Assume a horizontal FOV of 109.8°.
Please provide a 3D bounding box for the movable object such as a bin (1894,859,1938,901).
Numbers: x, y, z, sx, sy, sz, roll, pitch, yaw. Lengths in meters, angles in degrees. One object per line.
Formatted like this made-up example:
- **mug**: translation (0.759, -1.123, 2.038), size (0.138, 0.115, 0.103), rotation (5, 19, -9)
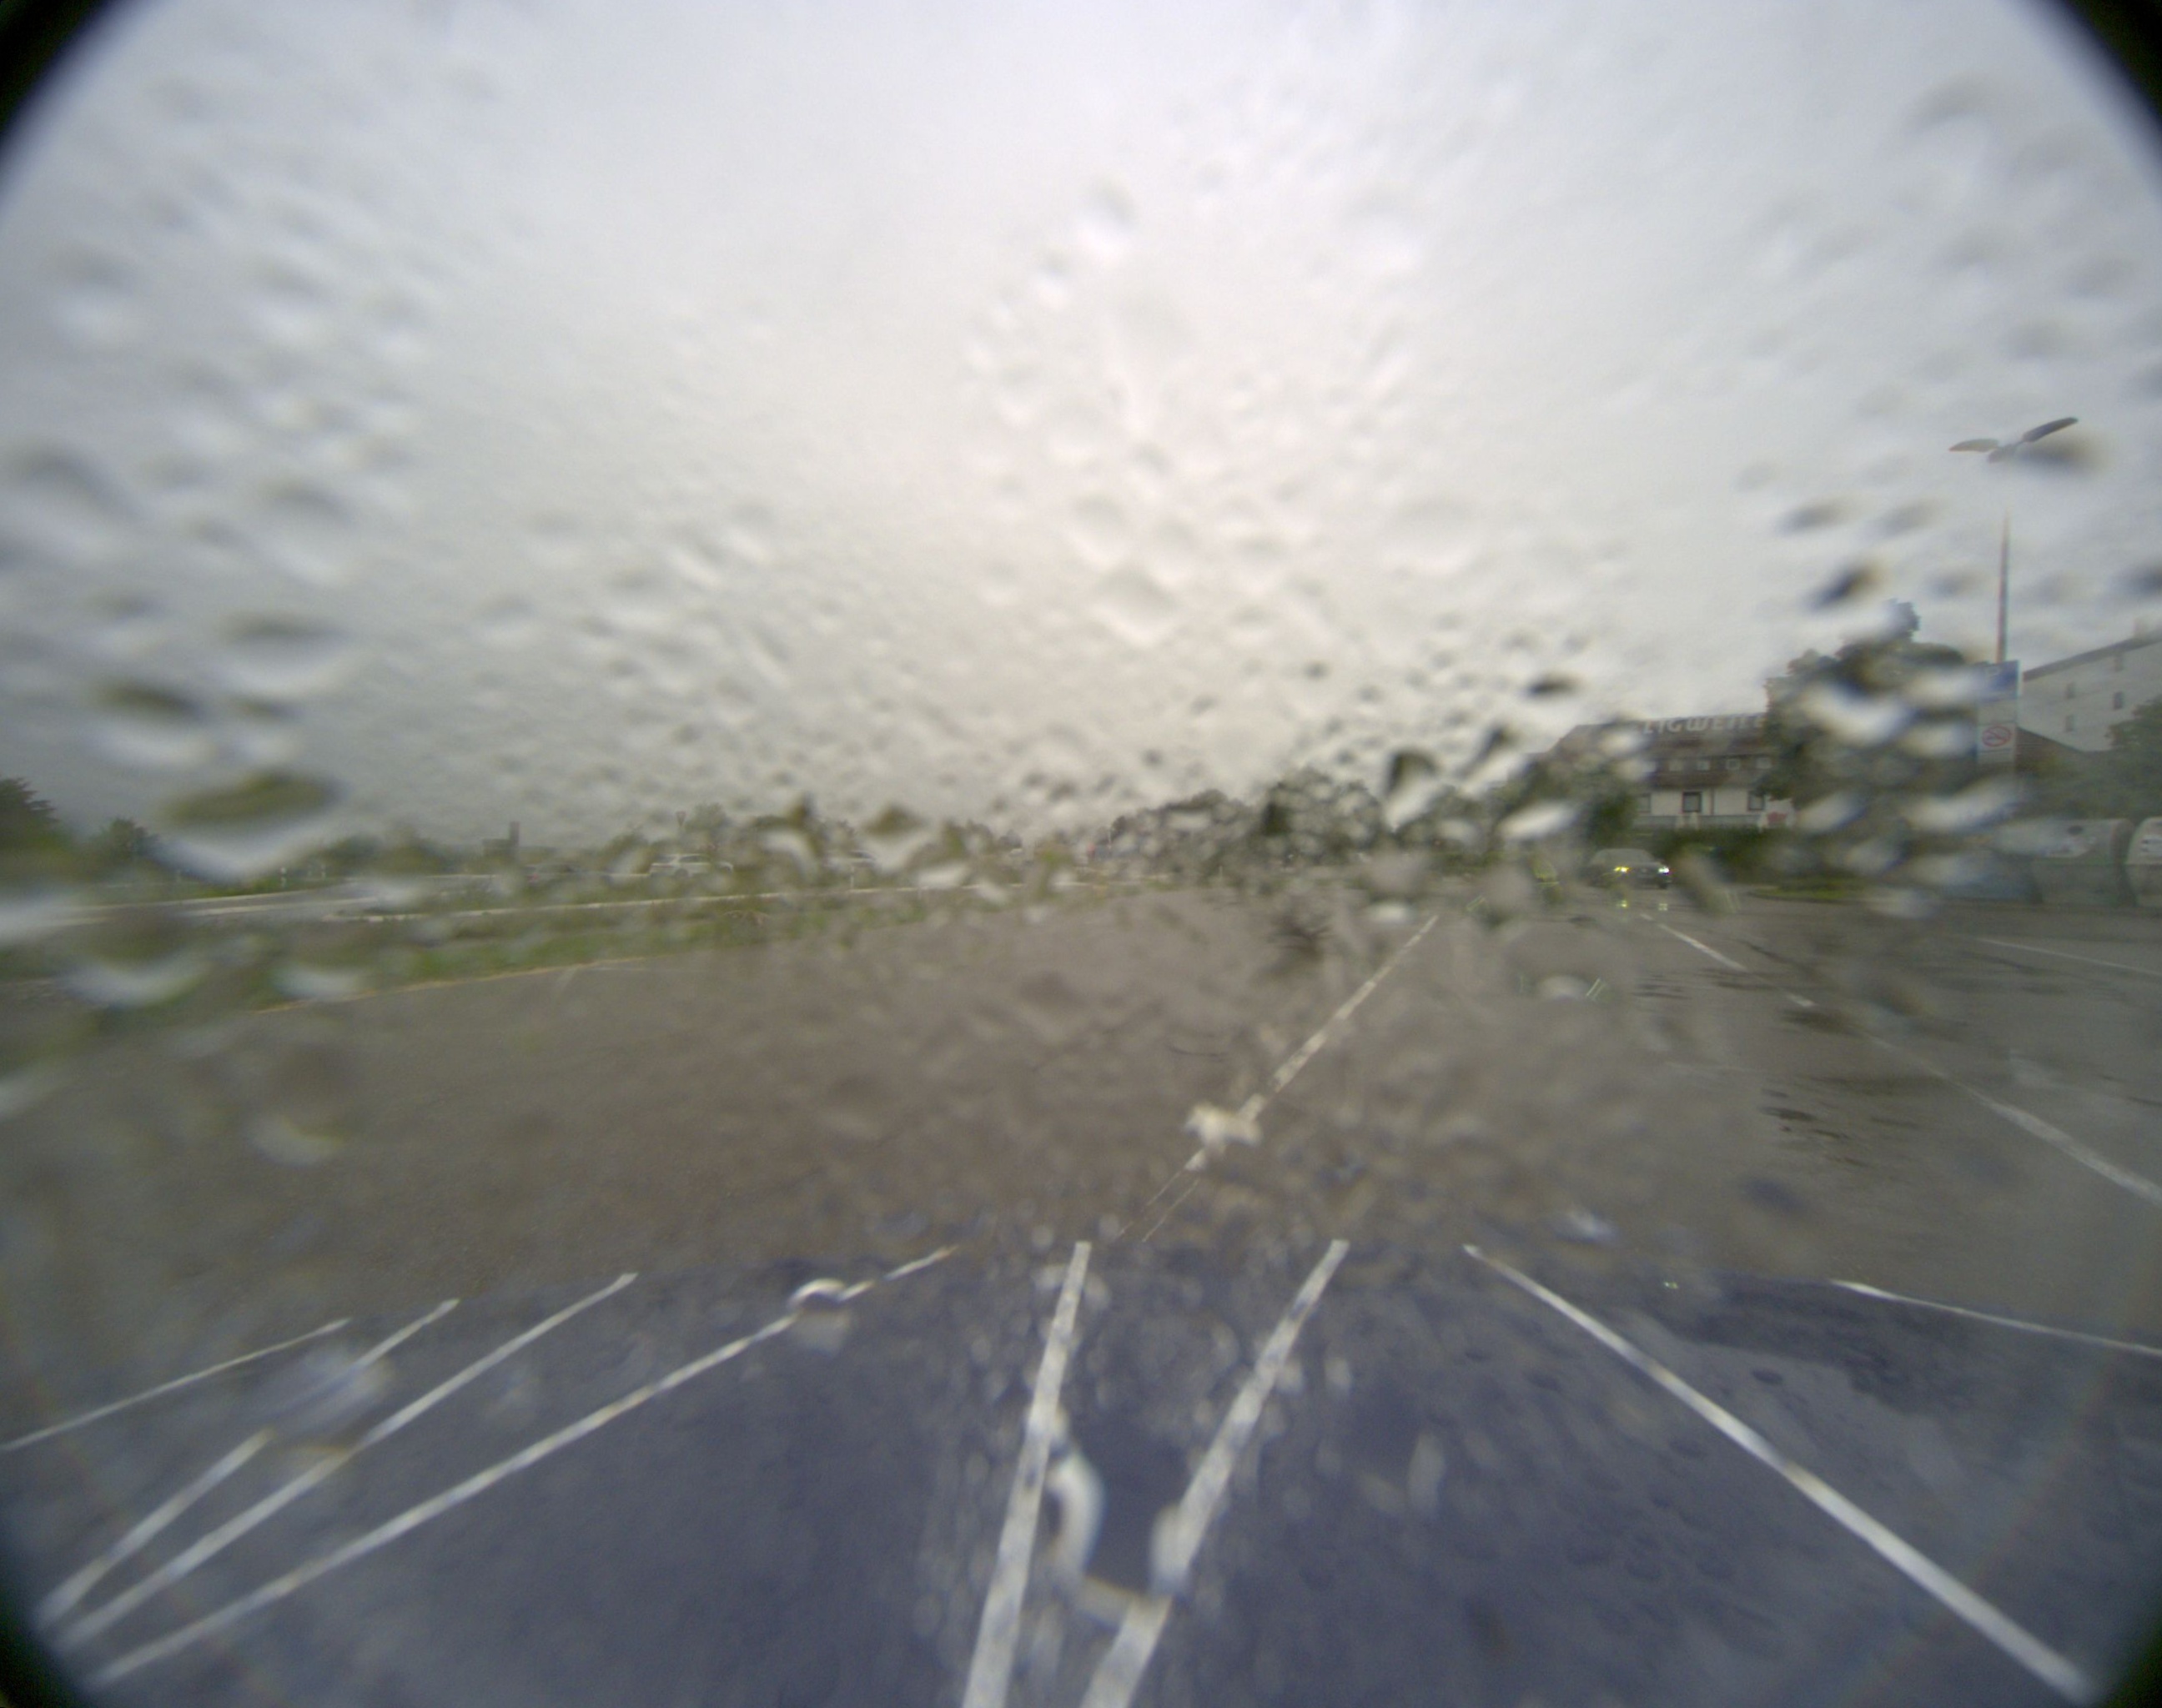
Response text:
- **movable object such as a bin**: translation (18.865, 0.583, 17.177), size (0.449, 0.912, 0.489), rotation (-1, 1, 6)

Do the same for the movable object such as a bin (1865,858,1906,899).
- **movable object such as a bin**: translation (18.767, 0.567, 17.723), size (0.449, 0.933, 0.489), rotation (-1, 1, 6)

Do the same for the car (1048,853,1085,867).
- **car**: translation (-1.767, 0.739, 95.830), size (4.374, 1.748, 1.744), rotation (-1, 0, -34)

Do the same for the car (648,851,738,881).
- **car**: translation (-22.119, 0.675, 43.495), size (1.689, 1.575, 4.394), rotation (-1, 1, 28)

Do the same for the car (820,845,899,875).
- **car**: translation (-14.775, 0.366, 50.755), size (4.652, 1.862, 1.995), rotation (-1, 1, -32)

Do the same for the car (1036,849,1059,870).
- **car**: translation (-3.040, 0.500, 70.117), size (1.713, 1.805, 3.716), rotation (-1, 0, 3)

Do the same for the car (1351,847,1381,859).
- **car**: translation (36.724, -0.167, 98.110), size (1.587, 1.449, 3.673), rotation (-1, 1, -21)

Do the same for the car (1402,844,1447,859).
- **car**: translation (35.094, -0.275, 77.698), size (4.179, 1.489, 1.721), rotation (-1, 0, 25)

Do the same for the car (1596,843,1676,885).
- **car**: translation (20.175, 0.311, 27.767), size (1.775, 1.425, 4.085), rotation (-1, 1, 28)

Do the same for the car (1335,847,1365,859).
- **car**: translation (33.793, -0.081, 95.543), size (1.587, 1.449, 3.673), rotation (-1, 1, -21)

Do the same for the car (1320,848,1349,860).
- **car**: translation (31.759, -0.058, 95.303), size (1.557, 1.449, 3.673), rotation (-1, 1, -21)

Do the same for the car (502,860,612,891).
- **car**: translation (-24.579, 0.983, 35.814), size (1.690, 1.318, 4.048), rotation (-1, 1, 16)

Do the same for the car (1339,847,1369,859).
- **car**: translation (34.927, -0.130, 97.343), size (1.587, 1.449, 3.673), rotation (-1, 1, -21)

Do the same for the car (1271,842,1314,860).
- **car**: translation (24.384, -0.332, 87.763), size (4.524, 2.021, 1.647), rotation (-1, 1, 25)
